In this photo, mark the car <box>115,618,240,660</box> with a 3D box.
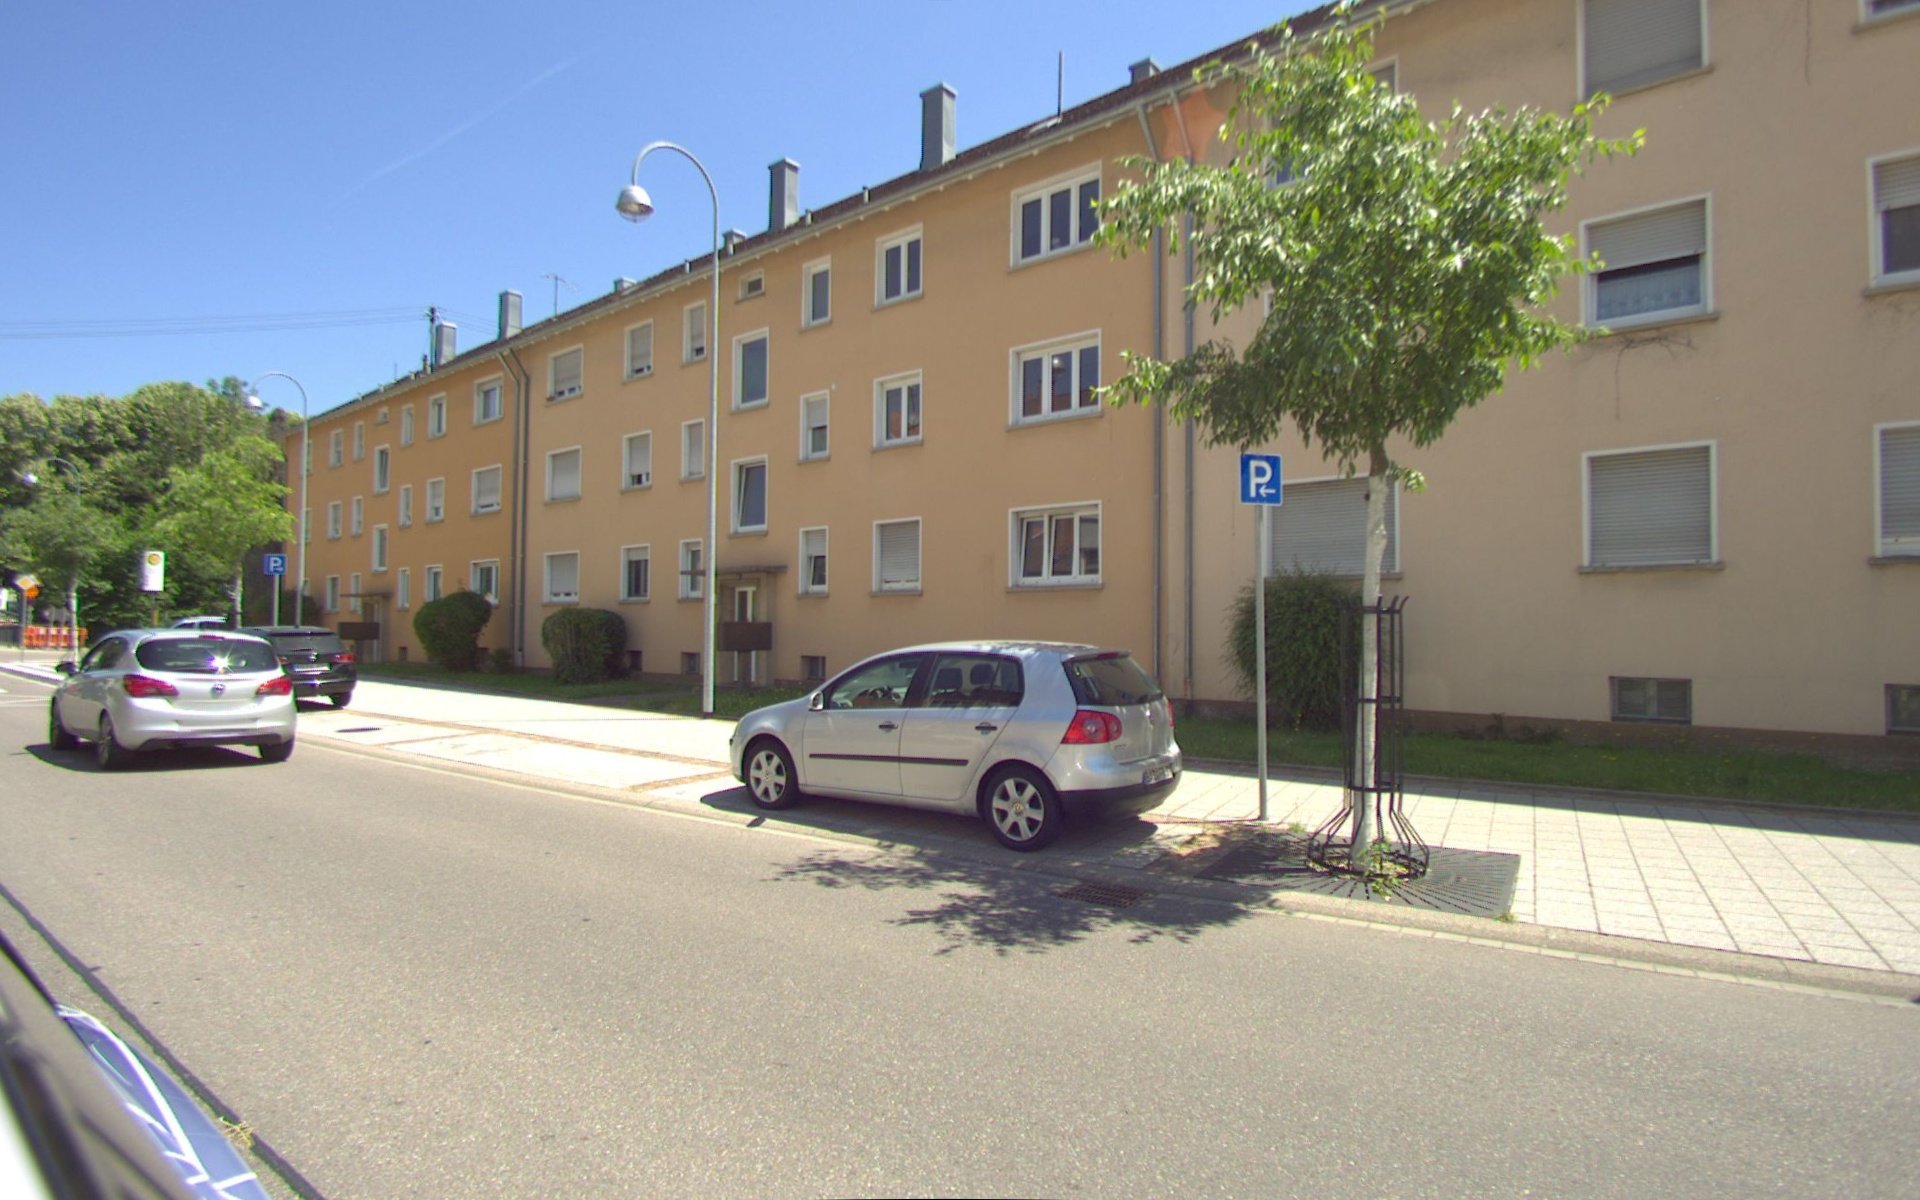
[{"bbox_3d":[-37.488,1.859,48.601,1.812,1.888,4.393,-1,-2,30],"label":"car"}]

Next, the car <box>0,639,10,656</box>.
[{"bbox_3d":[-97.378,4.763,101.210,3.974,1.729,1.984,-2,-5,23],"label":"car"}]

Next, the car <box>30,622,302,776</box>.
[{"bbox_3d":[-9.307,1.031,11.774,3.755,1.508,1.643,-1,-3,39],"label":"car"}]

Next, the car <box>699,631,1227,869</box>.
[{"bbox_3d":[-0.071,1.025,8.520,4.079,1.431,1.976,0,-1,36],"label":"car"}]

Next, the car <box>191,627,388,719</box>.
[{"bbox_3d":[-12.793,1.305,19.195,4.557,1.518,1.839,-2,-1,39],"label":"car"}]
